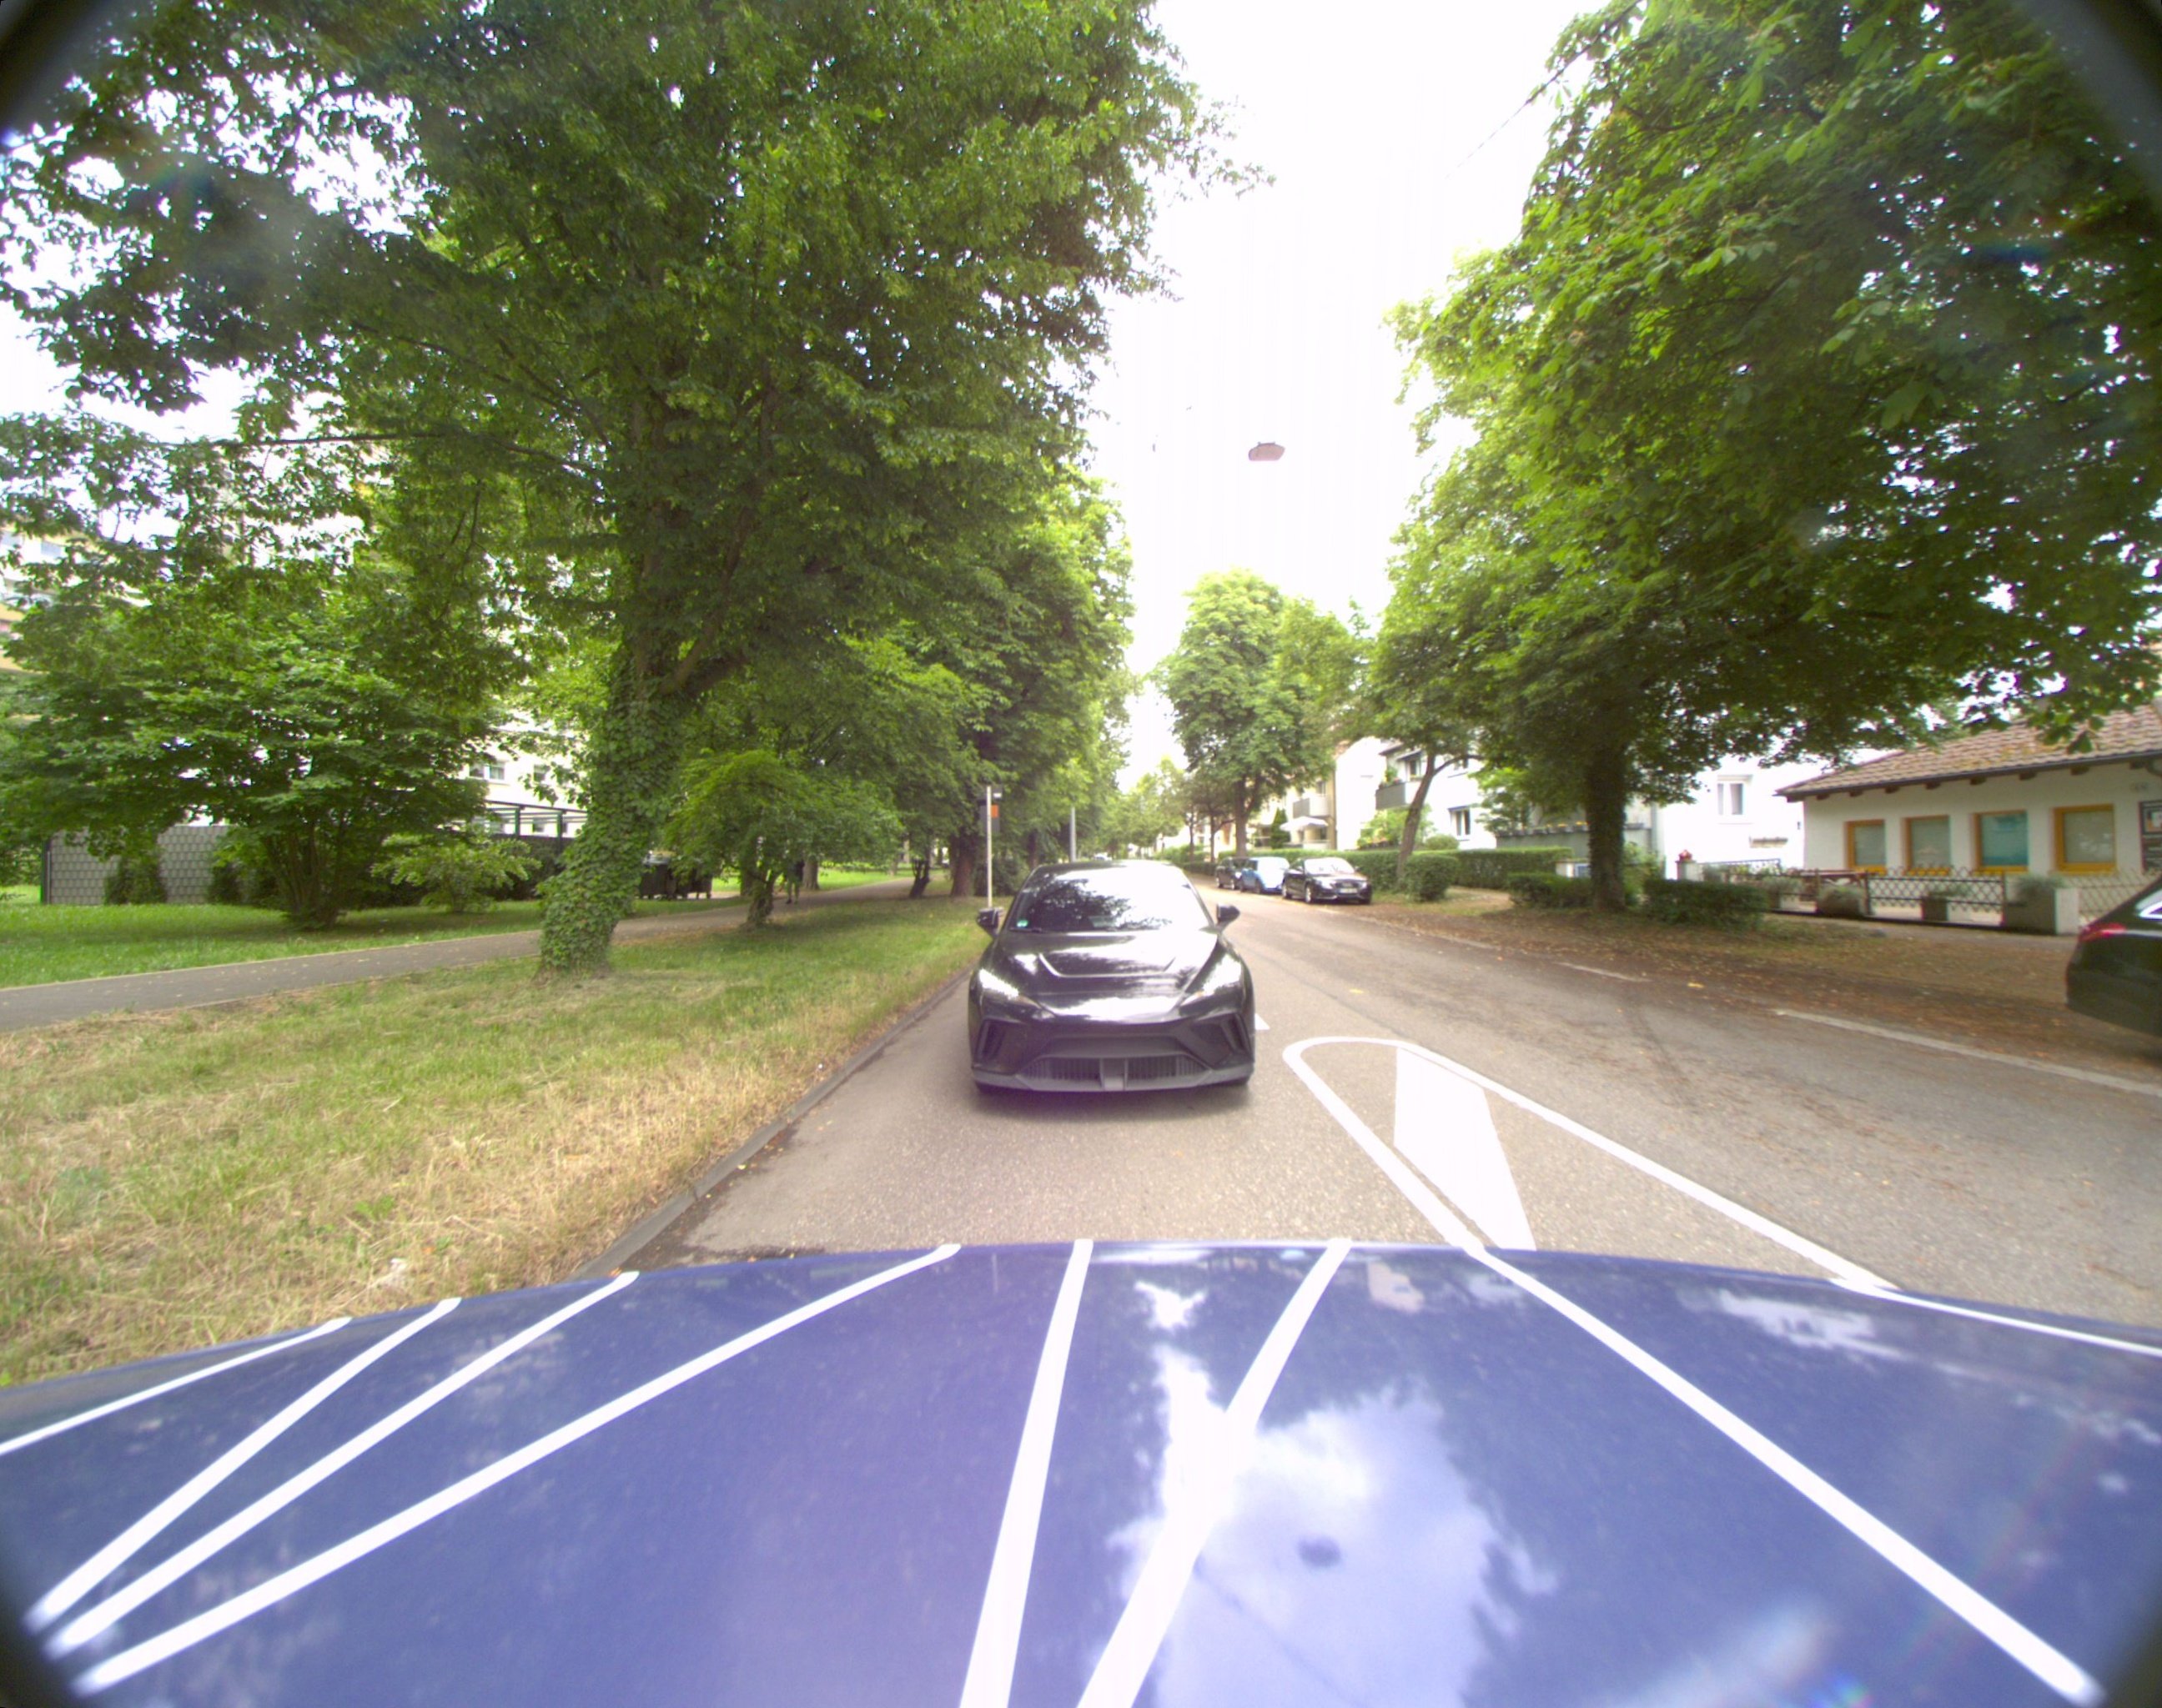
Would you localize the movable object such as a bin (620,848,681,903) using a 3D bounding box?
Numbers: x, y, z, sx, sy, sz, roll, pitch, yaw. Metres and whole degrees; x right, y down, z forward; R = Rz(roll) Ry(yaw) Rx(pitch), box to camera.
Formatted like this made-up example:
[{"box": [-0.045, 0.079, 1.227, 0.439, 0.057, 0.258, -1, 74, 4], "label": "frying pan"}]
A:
[{"box": [-13.141, 0.645, 23.216, 1.278, 1.633, 1.020, 1, 1, -3], "label": "movable object such as a bin"}]

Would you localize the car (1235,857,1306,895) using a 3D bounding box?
[{"box": [7.313, 0.827, 29.673, 1.637, 1.368, 4.151, 0, -1, -1], "label": "car"}]

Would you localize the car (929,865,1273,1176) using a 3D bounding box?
[{"box": [0.234, 0.928, 6.200, 1.803, 1.541, 4.299, -1, 1, 4], "label": "car"}]

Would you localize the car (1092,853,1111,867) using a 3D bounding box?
[{"box": [2.313, 0.638, 86.682, 1.998, 1.586, 4.000, 0, 0, 0], "label": "car"}]

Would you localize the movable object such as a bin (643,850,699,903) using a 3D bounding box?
[{"box": [-13.227, 0.708, 24.528, 1.240, 1.633, 1.075, 1, 1, -3], "label": "movable object such as a bin"}]

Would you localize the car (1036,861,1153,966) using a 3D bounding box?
[{"box": [0.263, 0.948, 13.808, 1.814, 1.520, 4.000, 0, 1, 2], "label": "car"}]

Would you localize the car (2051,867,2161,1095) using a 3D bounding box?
[{"box": [7.782, 0.822, 3.113, 1.749, 1.442, 4.593, 0, 0, 0], "label": "car"}]

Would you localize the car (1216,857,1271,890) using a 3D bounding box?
[{"box": [7.159, 0.825, 33.753, 1.541, 1.368, 3.771, 0, -1, -1], "label": "car"}]

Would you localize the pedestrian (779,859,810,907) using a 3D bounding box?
[{"box": [-8.402, 0.853, 22.298, 0.689, 1.373, 0.605, -1, 1, -7], "label": "pedestrian"}]

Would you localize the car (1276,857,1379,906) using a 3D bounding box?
[{"box": [7.554, 0.798, 23.761, 1.852, 1.368, 4.594, 0, -1, 2], "label": "car"}]

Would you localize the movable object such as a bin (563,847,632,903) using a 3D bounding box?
[{"box": [-14.653, 0.613, 23.072, 1.435, 1.633, 1.020, 1, 1, -3], "label": "movable object such as a bin"}]

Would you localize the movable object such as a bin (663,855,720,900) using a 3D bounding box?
[{"box": [-13.173, 0.783, 25.748, 1.328, 1.466, 1.201, 1, 1, -3], "label": "movable object such as a bin"}]
